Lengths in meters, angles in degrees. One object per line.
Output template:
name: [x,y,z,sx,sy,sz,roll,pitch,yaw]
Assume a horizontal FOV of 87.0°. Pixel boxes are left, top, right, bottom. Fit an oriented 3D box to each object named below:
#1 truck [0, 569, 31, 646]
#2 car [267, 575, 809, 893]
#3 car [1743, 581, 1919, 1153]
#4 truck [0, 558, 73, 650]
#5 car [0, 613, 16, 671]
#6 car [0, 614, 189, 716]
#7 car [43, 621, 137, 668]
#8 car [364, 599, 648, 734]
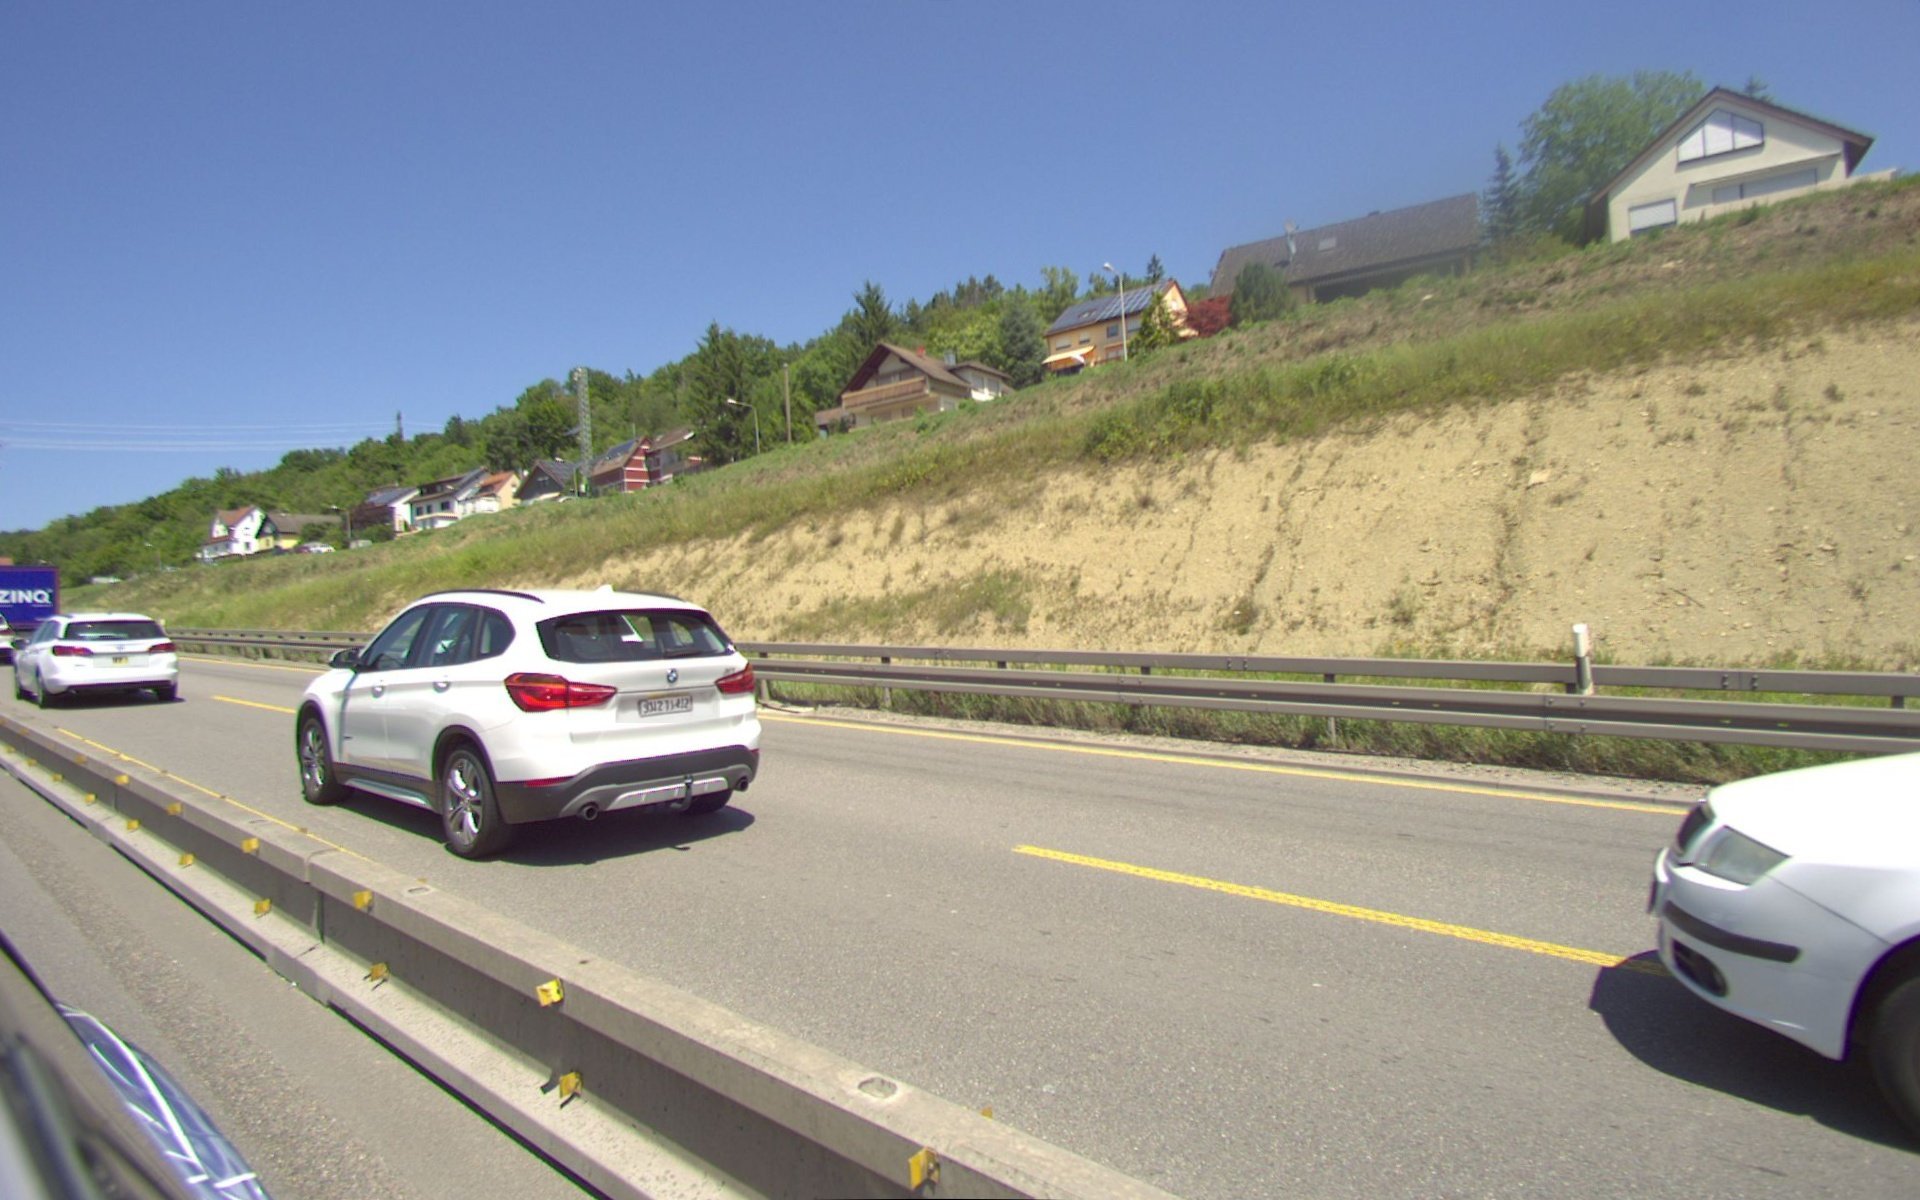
truck: [-53.889,0.439,55.986,4.244,4.191,3.206,-1,-1,40]
car: [-3.190,0.702,7.199,4.287,1.604,1.797,-1,0,40]
car: [4.189,0.642,2.129,3.995,1.426,1.631,-1,-1,39]
truck: [-48.174,0.294,51.056,13.969,4.191,3.210,-1,-1,41]
car: [-30.400,1.289,30.845,4.558,1.721,1.872,-1,0,40]
car: [-14.766,1.017,17.189,4.277,1.488,1.788,-1,0,40]
car: [-28.027,1.401,32.559,3.964,1.389,1.684,-1,0,40]
car: [-6.502,0.831,14.257,4.511,1.596,1.880,-1,0,40]
